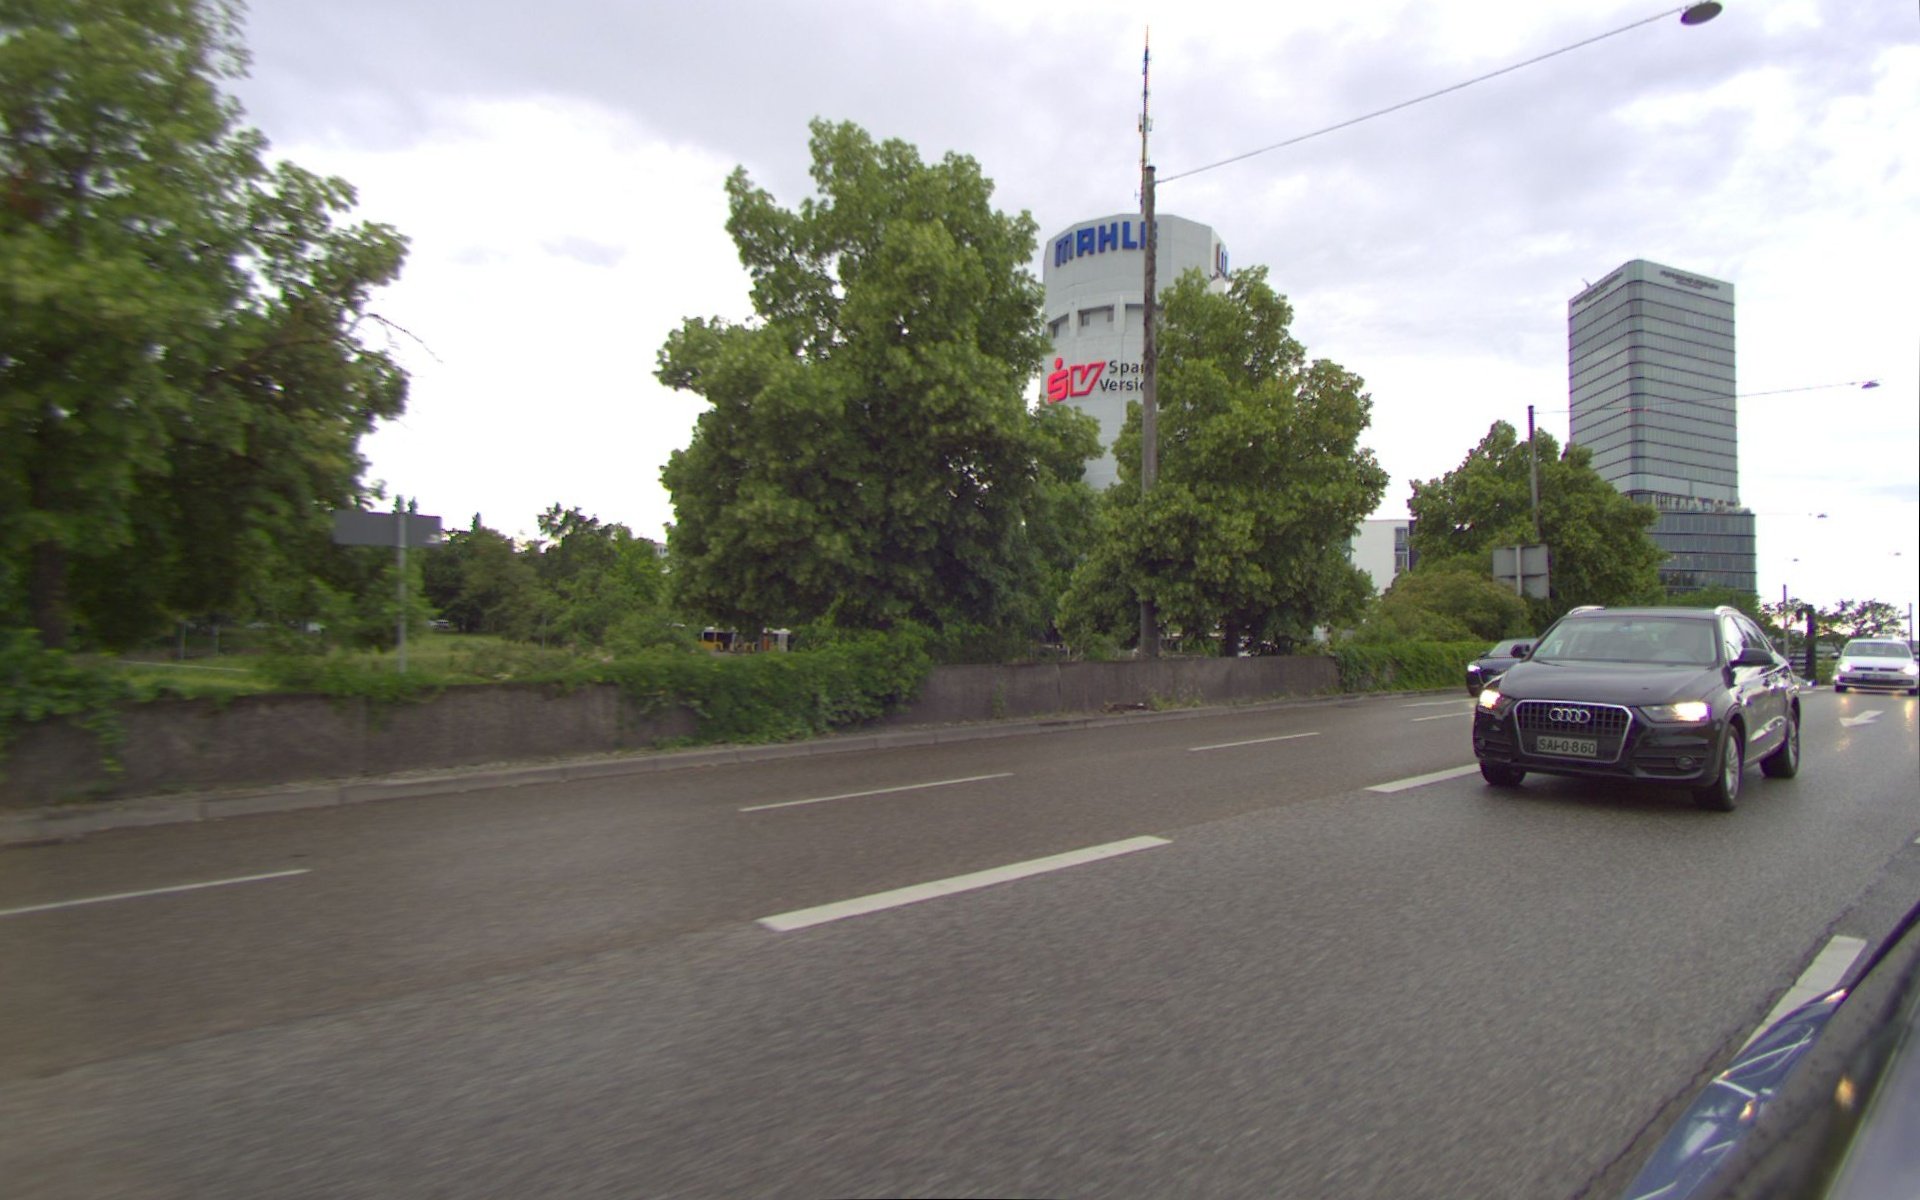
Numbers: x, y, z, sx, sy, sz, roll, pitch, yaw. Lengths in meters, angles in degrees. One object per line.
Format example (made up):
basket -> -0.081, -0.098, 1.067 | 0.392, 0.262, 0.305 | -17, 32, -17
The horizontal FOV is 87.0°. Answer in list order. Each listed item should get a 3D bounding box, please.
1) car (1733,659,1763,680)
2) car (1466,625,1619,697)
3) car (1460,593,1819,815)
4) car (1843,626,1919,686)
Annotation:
car -> 58.164, 5.156, 74.689 | 1.628, 1.495, 3.623 | -1, -4, 39
car -> 13.949, 1.383, 24.147 | 4.273, 1.444, 1.874 | -1, -1, -41
car -> 6.245, 0.760, 9.116 | 4.055, 1.553, 1.727 | 1, -1, -42
car -> 24.890, 1.535, 27.120 | 1.724, 1.492, 4.197 | -3, -6, 42
